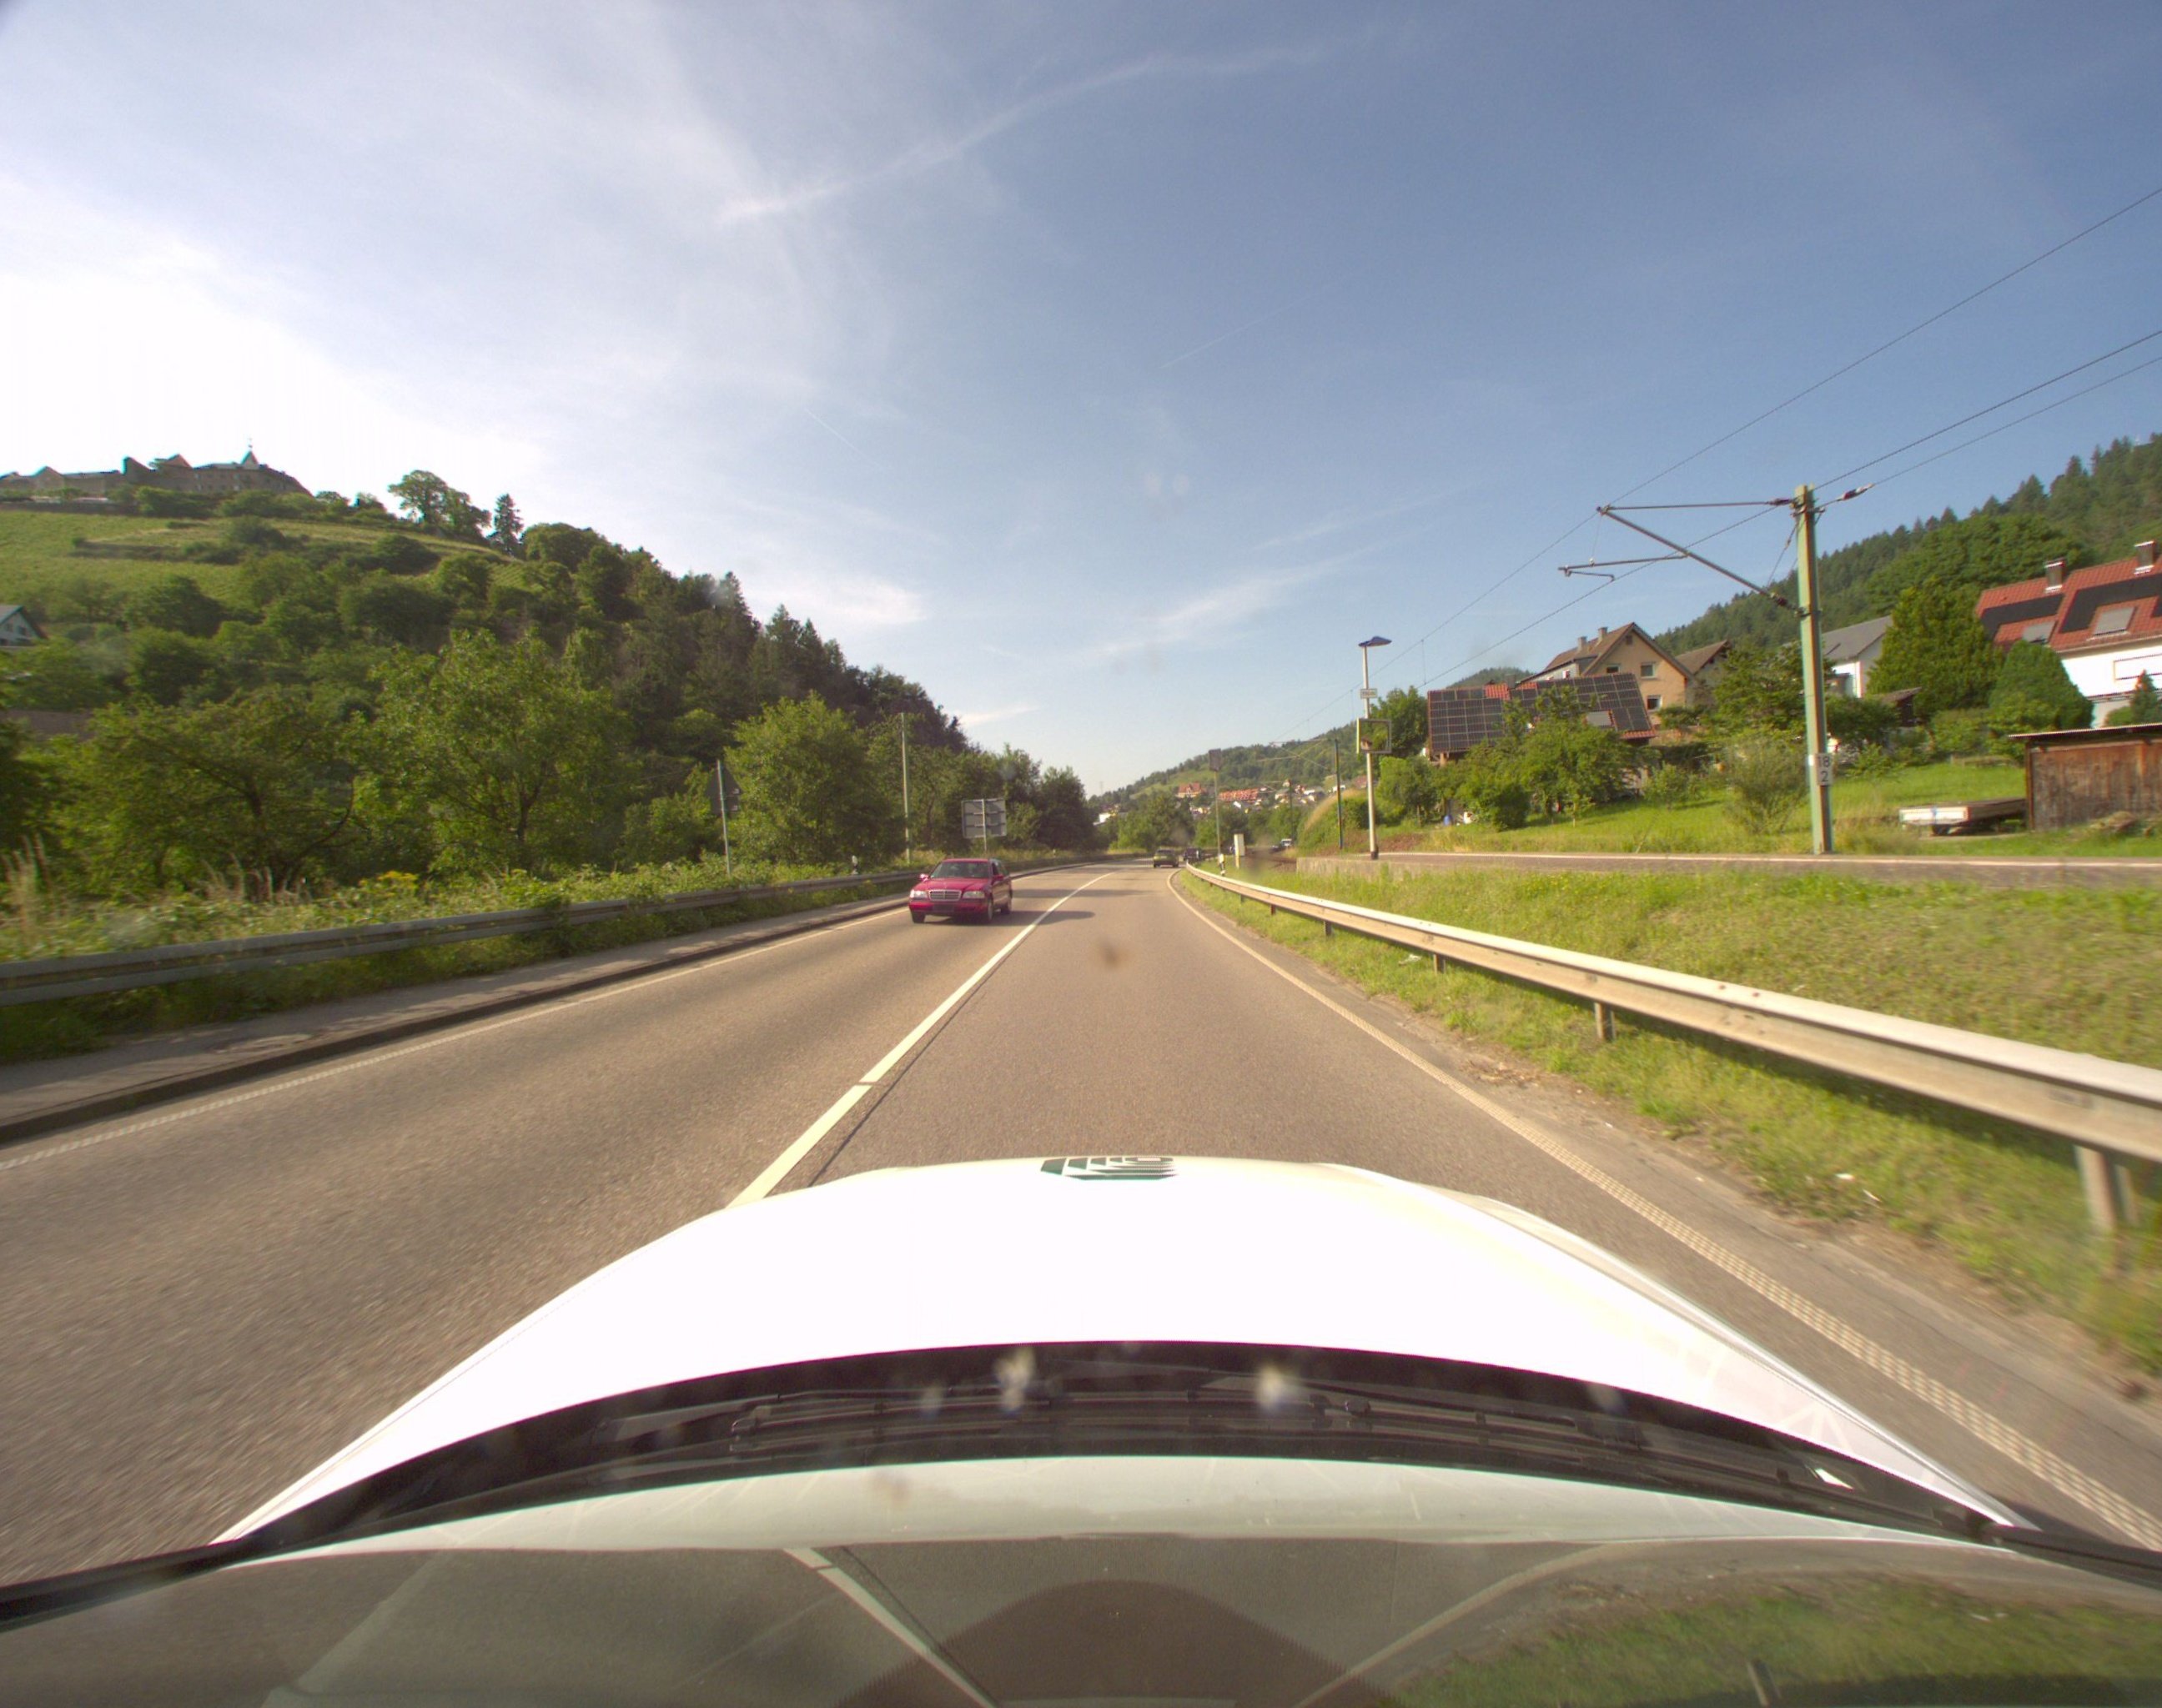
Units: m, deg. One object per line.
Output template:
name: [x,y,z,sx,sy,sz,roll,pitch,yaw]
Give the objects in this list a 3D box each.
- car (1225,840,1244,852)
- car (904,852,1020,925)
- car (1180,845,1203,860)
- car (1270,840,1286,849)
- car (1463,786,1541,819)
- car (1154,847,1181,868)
car: [21.154,-1.062,112.343,1.791,1.453,3.667,-4,0,21]
car: [-2.649,0.714,19.346,1.834,1.469,4.946,0,0,2]
car: [11.564,-0.177,84.847,1.826,1.459,3.728,-4,0,15]
car: [32.698,-1.562,135.010,1.792,1.408,3.795,-4,0,25]
car: [26.333,-3.219,51.089,3.956,1.684,2.009,-4,0,16]
car: [6.890,0.238,64.465,1.717,1.457,3.422,-4,0,11]
